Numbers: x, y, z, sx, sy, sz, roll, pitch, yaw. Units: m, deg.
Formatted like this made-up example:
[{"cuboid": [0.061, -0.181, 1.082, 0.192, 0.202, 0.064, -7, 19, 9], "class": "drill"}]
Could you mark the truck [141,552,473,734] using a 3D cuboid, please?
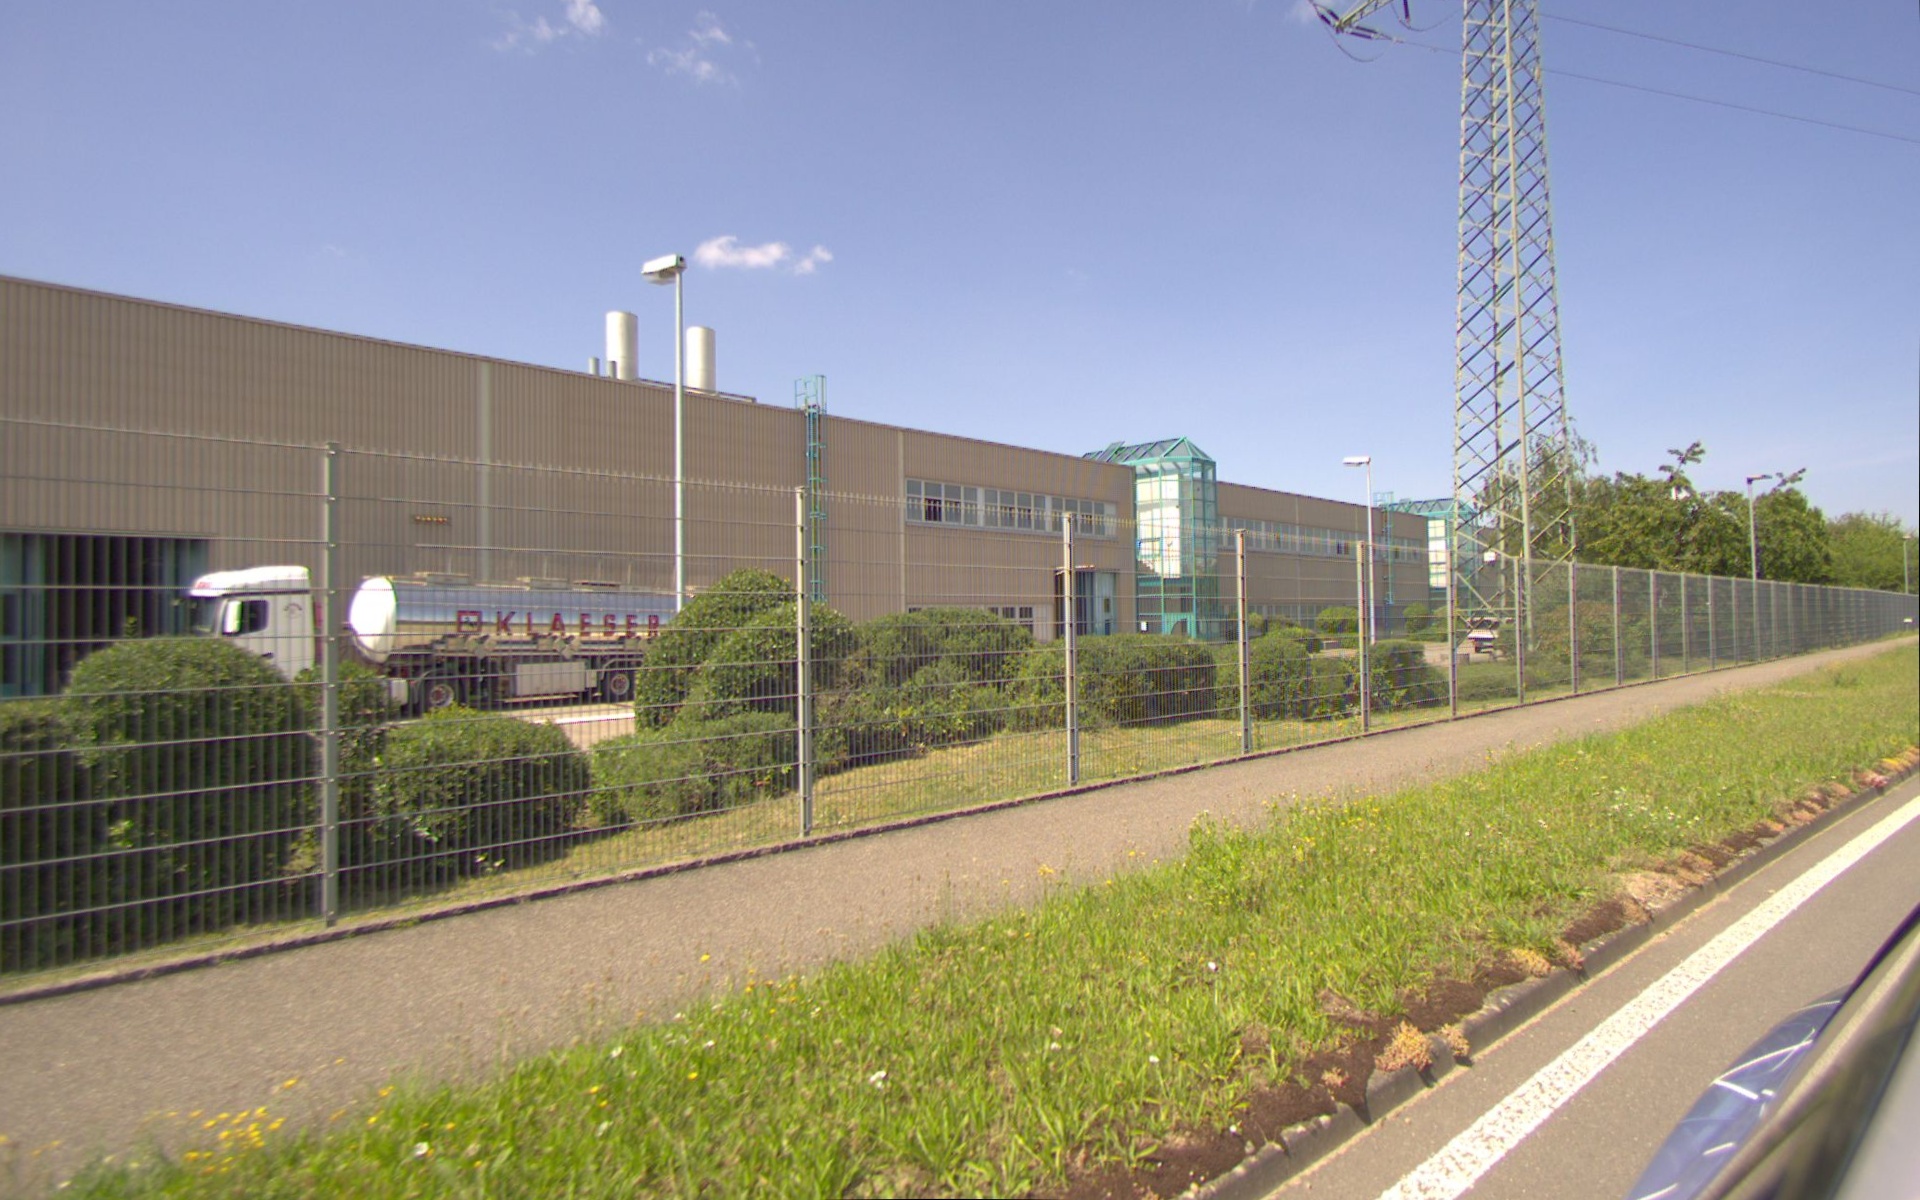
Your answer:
[{"cuboid": [-16.206, 0.924, 25.432, 3.590, 3.916, 6.313, 0, 0, 41], "class": "truck"}]

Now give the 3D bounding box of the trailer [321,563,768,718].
[{"cuboid": [-11.725, 1.015, 30.308, 3.589, 3.783, 12.048, -1, -1, 43], "class": "trailer"}]

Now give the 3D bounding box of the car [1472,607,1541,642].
[{"cuboid": [30.249, 1.338, 55.965, 2.107, 1.802, 5.569, -3, -2, 42], "class": "car"}]
